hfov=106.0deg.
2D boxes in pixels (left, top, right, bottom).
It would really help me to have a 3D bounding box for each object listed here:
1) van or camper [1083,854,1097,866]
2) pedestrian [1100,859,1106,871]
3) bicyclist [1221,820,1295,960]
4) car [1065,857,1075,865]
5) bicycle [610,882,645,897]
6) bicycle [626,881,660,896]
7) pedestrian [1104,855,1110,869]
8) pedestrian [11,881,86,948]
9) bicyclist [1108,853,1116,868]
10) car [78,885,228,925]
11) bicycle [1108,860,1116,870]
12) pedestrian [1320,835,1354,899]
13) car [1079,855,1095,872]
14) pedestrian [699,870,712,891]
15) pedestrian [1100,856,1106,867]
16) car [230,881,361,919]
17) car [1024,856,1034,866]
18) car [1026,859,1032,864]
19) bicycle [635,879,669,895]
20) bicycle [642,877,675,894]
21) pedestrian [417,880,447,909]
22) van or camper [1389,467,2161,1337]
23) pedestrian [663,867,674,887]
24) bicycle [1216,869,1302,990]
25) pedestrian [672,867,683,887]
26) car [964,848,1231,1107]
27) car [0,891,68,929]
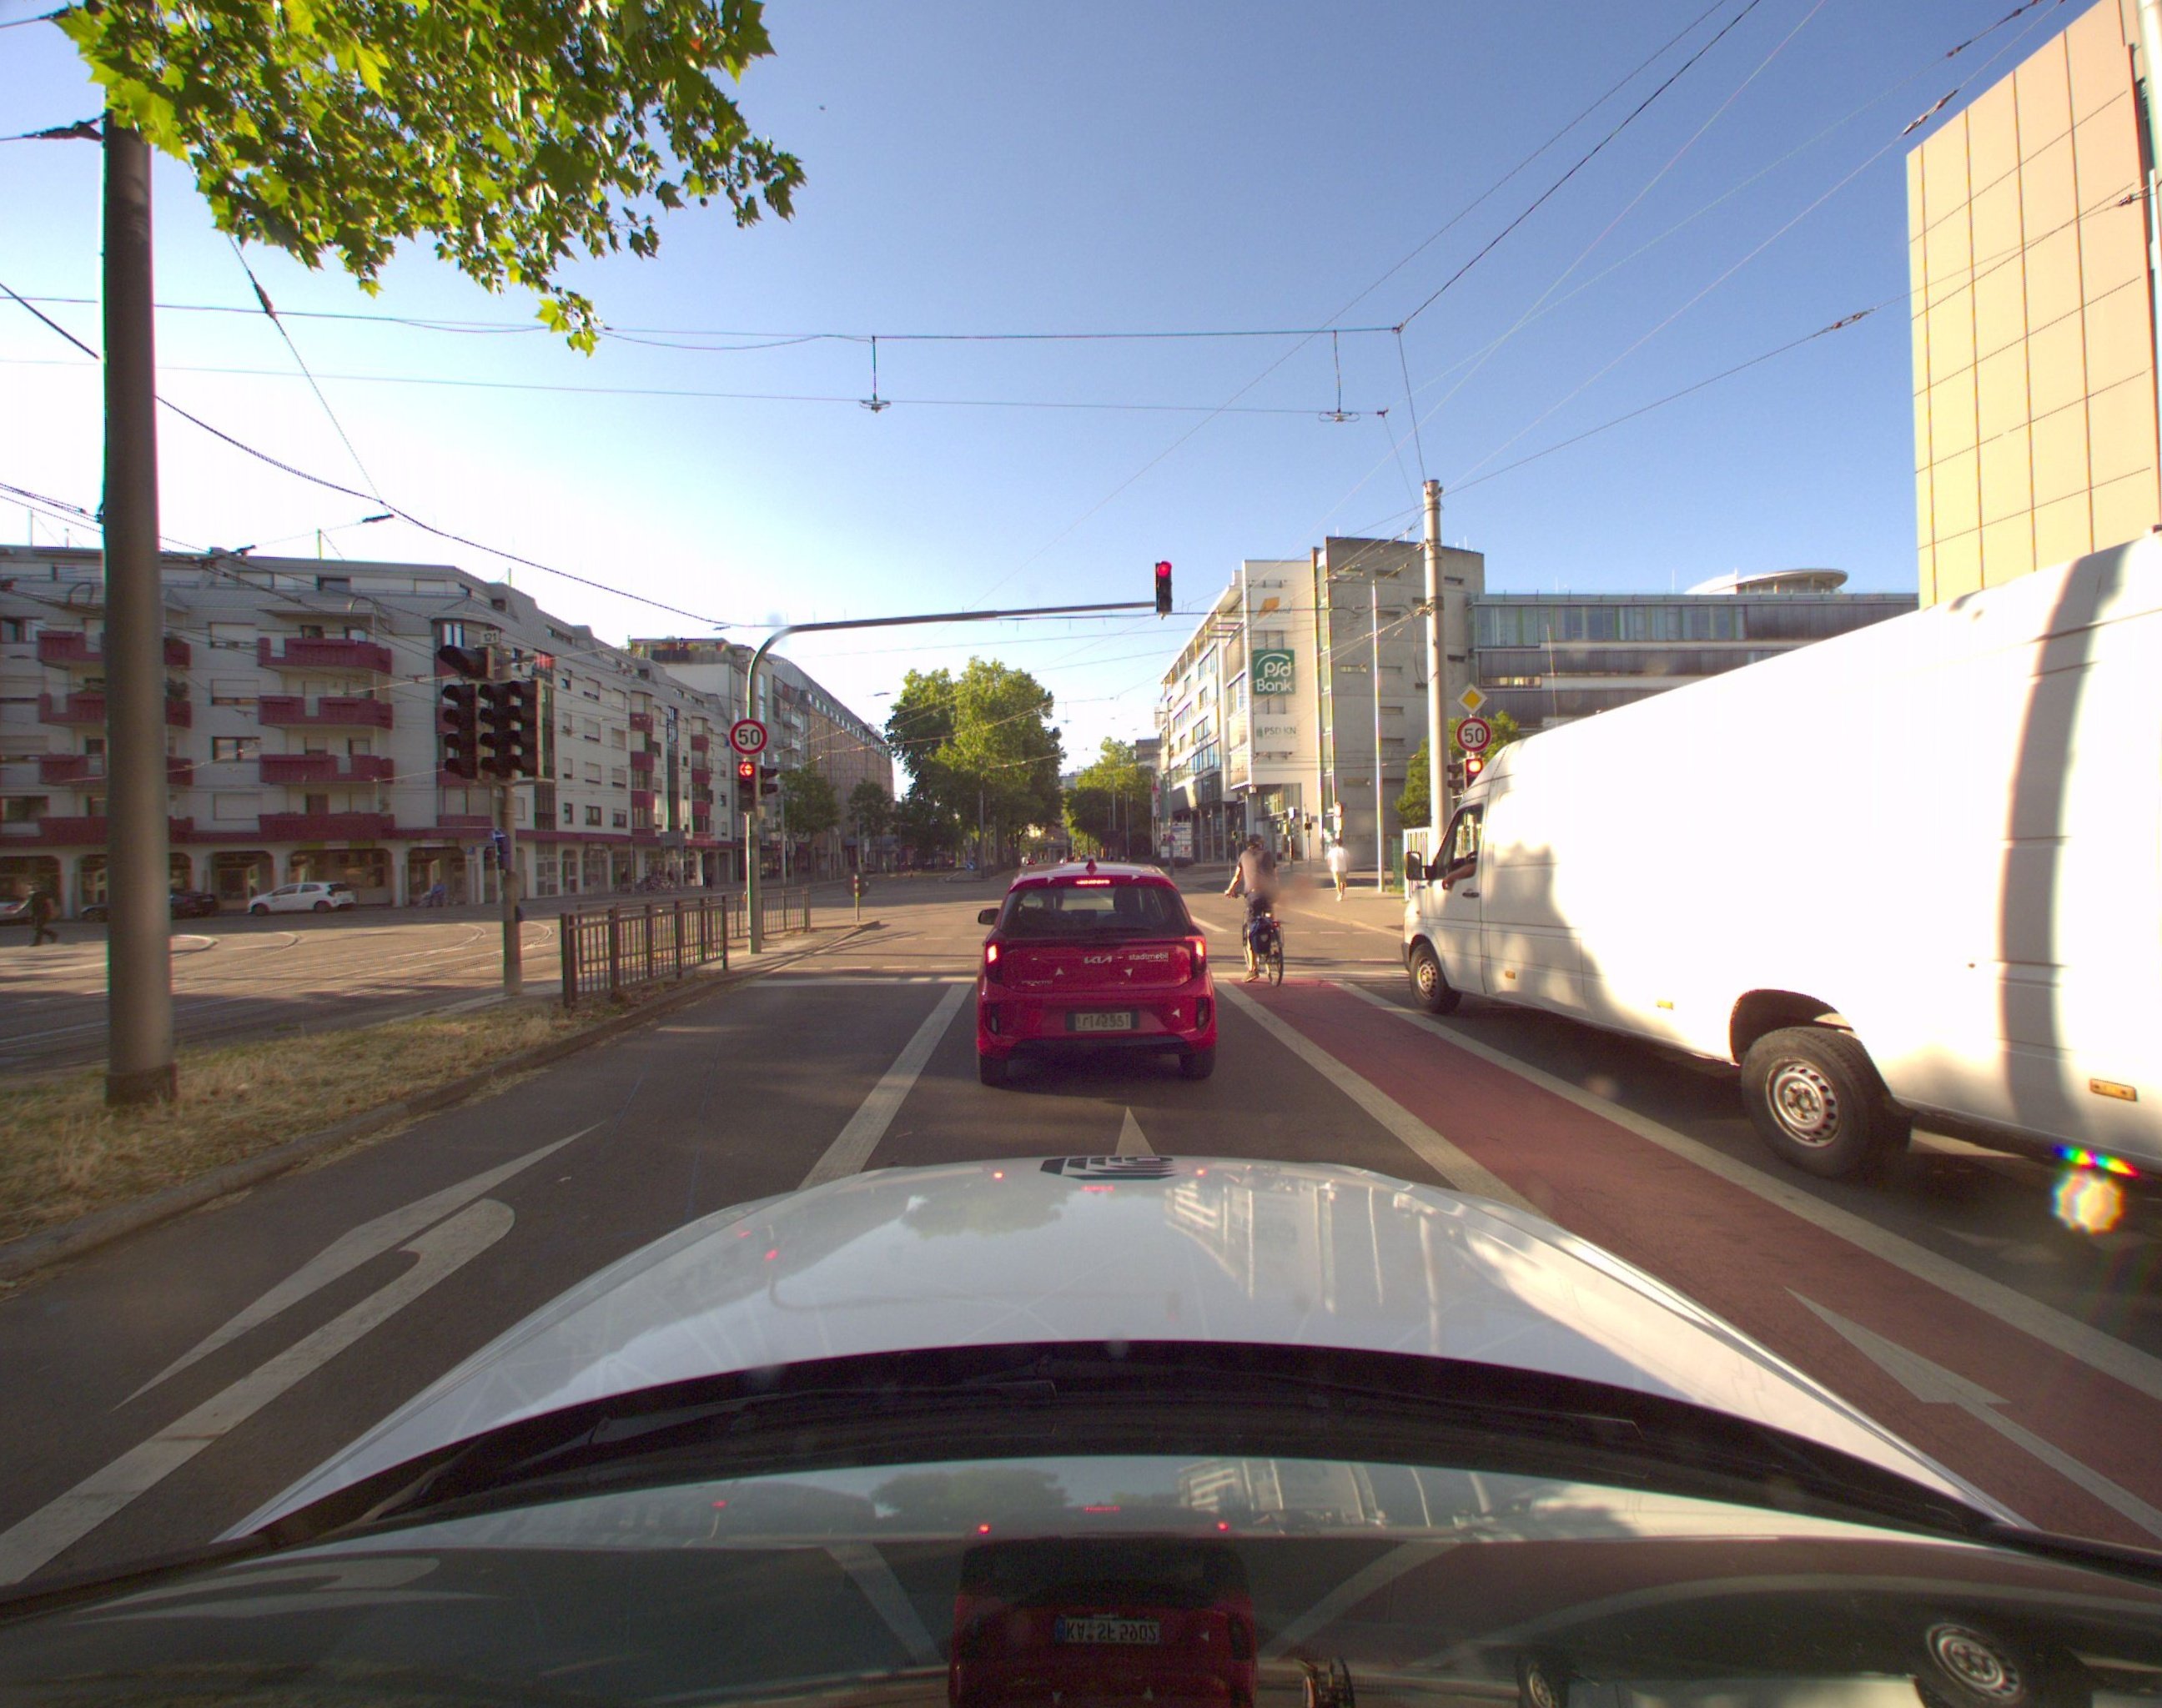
[{"bbox_3d":[1.447,0.991,132.476,1.988,1.989,4.741,-1,0,-2],"label":"van or camper"},{"bbox_3d":[3.129,1.523,115.544,0.639,1.579,0.724,-5,0,2],"label":"pedestrian"},{"bbox_3d":[2.139,0.420,9.967,0.647,1.603,1.089,-2,0,2],"label":"bicyclist"},{"bbox_3d":[-2.318,1.496,168.867,1.776,1.535,3.503,-1,0,-8],"label":"car"},{"bbox_3d":[-28.266,2.197,50.791,1.837,0.854,0.553,-2,0,-1],"label":"bicycle"},{"bbox_3d":[-27.705,2.168,51.553,1.837,0.854,0.553,-2,0,-1],"label":"bicycle"},{"bbox_3d":[3.116,0.942,97.595,0.644,1.680,0.652,-2,0,2],"label":"pedestrian"},{"bbox_3d":[-28.478,1.650,22.483,0.733,1.752,1.017,-2,0,-6],"label":"pedestrian"},{"bbox_3d":[3.465,0.726,91.797,0.720,1.603,1.088,-4,-1,-1],"label":"bicyclist"},{"bbox_3d":[-42.428,2.306,37.347,4.112,1.555,1.992,-2,0,-12],"label":"car"},{"bbox_3d":[3.504,1.238,91.782,0.694,1.098,1.750,-5,0,-1],"label":"bicycle"},{"bbox_3d":[7.521,0.381,23.967,0.772,1.823,1.219,-2,0,11],"label":"pedestrian"},{"bbox_3d":[0.687,1.045,90.243,1.631,1.800,3.328,-2,0,-1],"label":"car"},{"bbox_3d":[-28.157,1.973,61.024,0.697,1.544,1.038,-2,0,-34],"label":"pedestrian"},{"bbox_3d":[3.477,1.167,128.653,0.888,1.753,0.841,-2,0,1],"label":"pedestrian"},{"bbox_3d":[-37.172,2.160,38.650,3.989,1.555,1.992,-2,0,-12],"label":"car"},{"bbox_3d":[-11.279,1.554,175.969,1.991,2.013,3.992,-2,0,-6],"label":"car"},{"bbox_3d":[-16.331,2.271,256.524,1.776,1.535,3.403,-1,0,-8],"label":"car"},{"bbox_3d":[-27.798,2.136,52.822,1.840,0.985,0.552,-2,0,-6],"label":"bicycle"},{"bbox_3d":[-27.713,2.070,53.437,1.840,0.985,0.552,-2,0,-6],"label":"bicycle"},{"bbox_3d":[-32.588,2.045,40.884,0.857,1.384,0.833,-2,0,-14],"label":"pedestrian"},{"bbox_3d":[4.298,0.149,5.449,1.963,2.716,6.301,-1,0,-1],"label":"van or camper"},{"bbox_3d":[-31.701,1.781,62.567,0.533,1.494,0.586,-2,0,-6],"label":"pedestrian"},{"bbox_3d":[2.131,0.853,9.989,0.647,1.281,1.967,-2,0,2],"label":"bicycle"},{"bbox_3d":[-31.054,1.777,62.681,0.533,1.494,0.586,-2,0,-6],"label":"pedestrian"},{"bbox_3d":[0.032,0.751,6.679,1.609,1.535,3.408,-1,0,-3],"label":"car"},{"bbox_3d":[-48.602,2.527,35.948,4.572,1.555,1.992,-2,0,-12],"label":"car"}]
